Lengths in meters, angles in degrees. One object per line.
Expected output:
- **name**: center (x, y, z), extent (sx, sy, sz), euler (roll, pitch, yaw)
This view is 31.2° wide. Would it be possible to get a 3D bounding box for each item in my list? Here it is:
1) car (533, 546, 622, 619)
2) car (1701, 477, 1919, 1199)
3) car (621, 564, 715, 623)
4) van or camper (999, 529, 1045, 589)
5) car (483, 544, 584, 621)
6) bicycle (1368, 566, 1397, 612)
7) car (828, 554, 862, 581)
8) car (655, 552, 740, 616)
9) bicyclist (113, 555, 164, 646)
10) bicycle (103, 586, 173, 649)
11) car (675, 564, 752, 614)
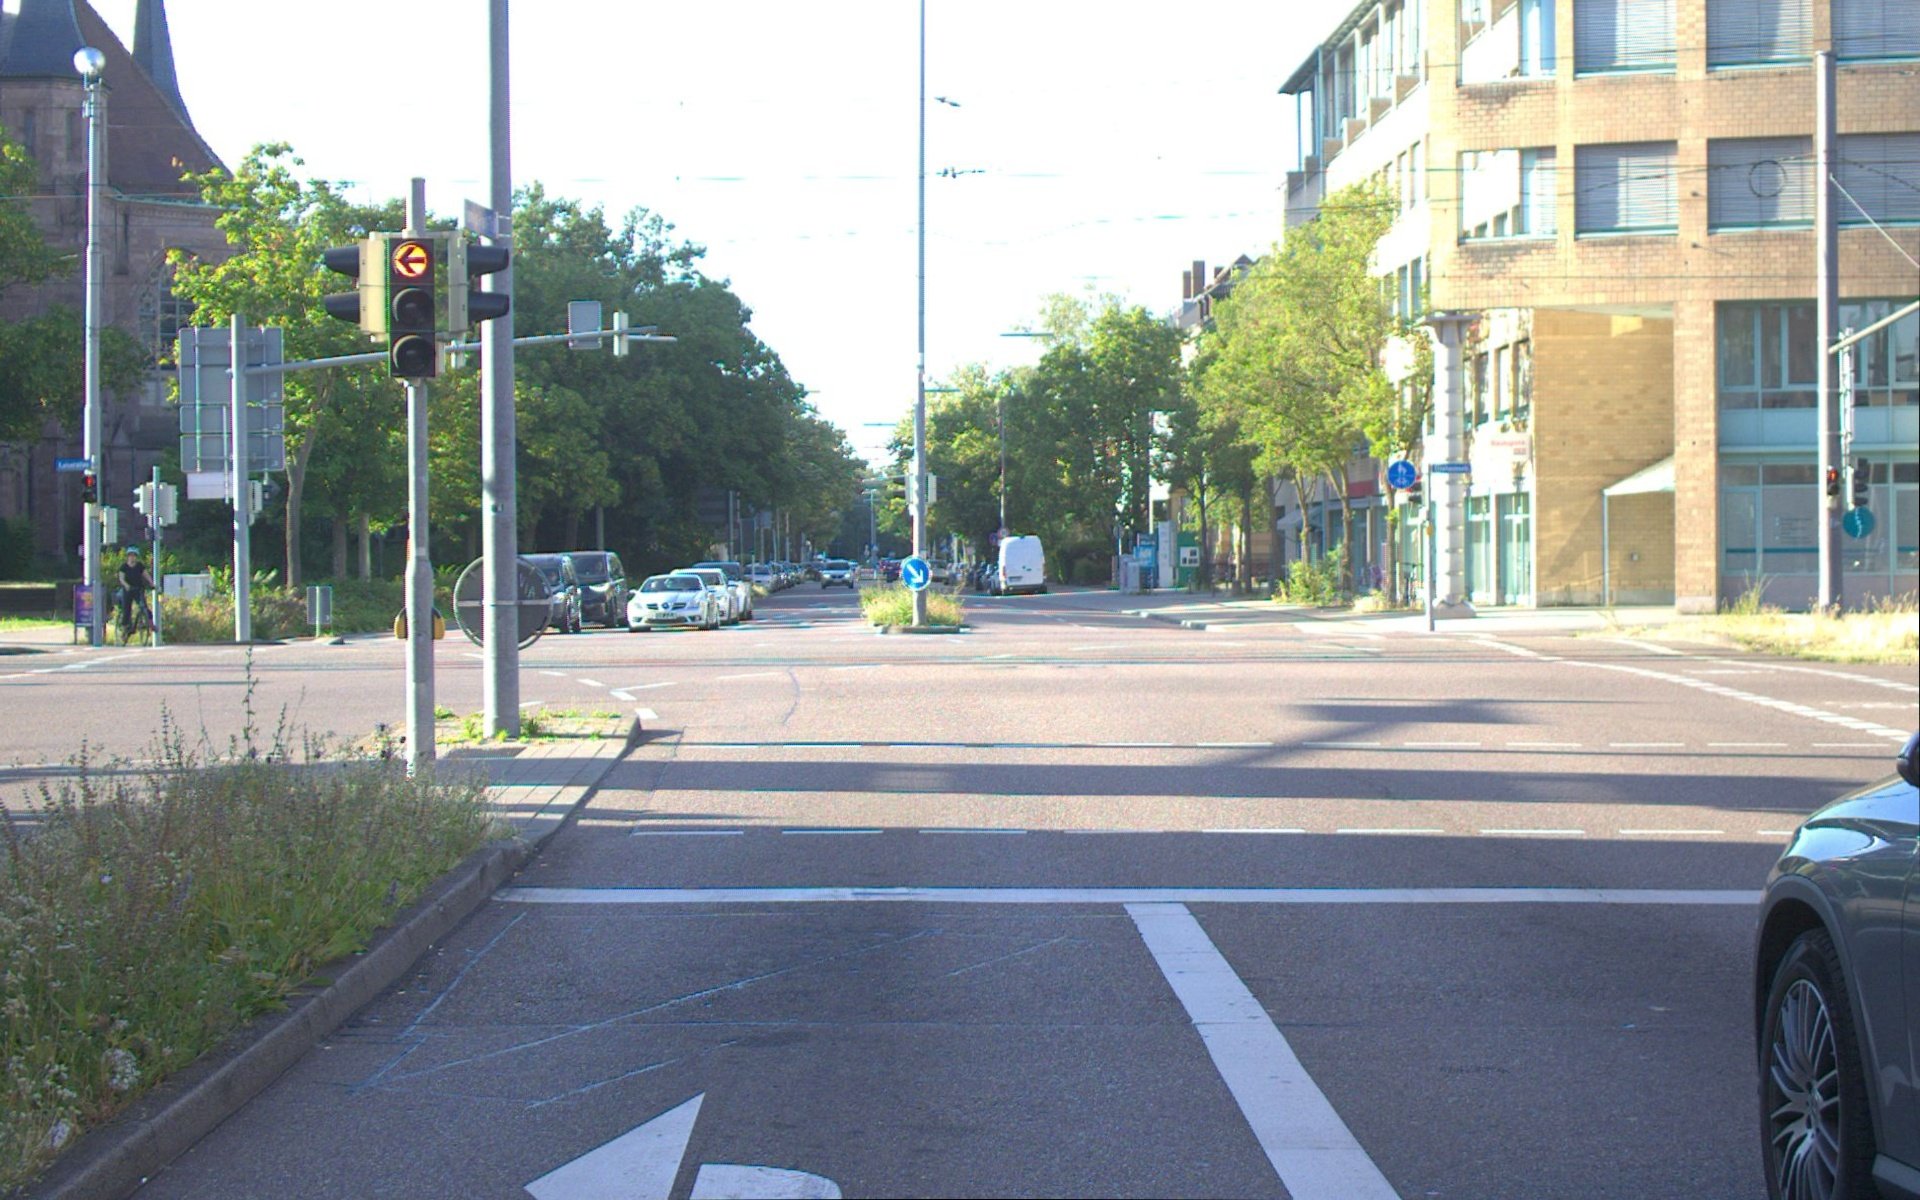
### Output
- **car**: center (-9.327, -0.449, 84.073), extent (1.780, 1.698, 4.000), euler (0, 1, -1)
- **car**: center (2.612, 0.605, 5.399), extent (1.784, 1.627, 4.479), euler (0, 1, -2)
- **car**: center (-6.442, -0.167, 76.165), extent (1.780, 1.232, 4.000), euler (0, 1, -1)
- **van or camper**: center (2.809, -1.885, 155.979), extent (1.993, 2.631, 5.350), euler (0, 1, 0)
- **car**: center (-9.486, -0.407, 76.670), extent (1.780, 1.641, 4.000), euler (0, 1, -1)
- **bicycle**: center (11.546, -0.312, 94.048), extent (0.774, 1.191, 2.464), euler (0, 1, 7)
- **car**: center (-6.366, -1.804, 189.908), extent (1.780, 1.444, 4.000), euler (0, 1, -1)
- **car**: center (-6.300, -0.405, 82.739), extent (1.780, 1.459, 4.000), euler (0, 1, -1)
- **bicyclist**: center (-15.329, 0.003, 64.156), extent (0.639, 1.688, 0.782), euler (-1, 1, -37)
- **bicycle**: center (-15.353, 0.320, 64.189), extent (0.645, 1.135, 1.679), euler (-1, 1, -37)
- **car**: center (-6.434, -0.309, 90.004), extent (1.780, 1.232, 4.000), euler (0, 1, -1)
